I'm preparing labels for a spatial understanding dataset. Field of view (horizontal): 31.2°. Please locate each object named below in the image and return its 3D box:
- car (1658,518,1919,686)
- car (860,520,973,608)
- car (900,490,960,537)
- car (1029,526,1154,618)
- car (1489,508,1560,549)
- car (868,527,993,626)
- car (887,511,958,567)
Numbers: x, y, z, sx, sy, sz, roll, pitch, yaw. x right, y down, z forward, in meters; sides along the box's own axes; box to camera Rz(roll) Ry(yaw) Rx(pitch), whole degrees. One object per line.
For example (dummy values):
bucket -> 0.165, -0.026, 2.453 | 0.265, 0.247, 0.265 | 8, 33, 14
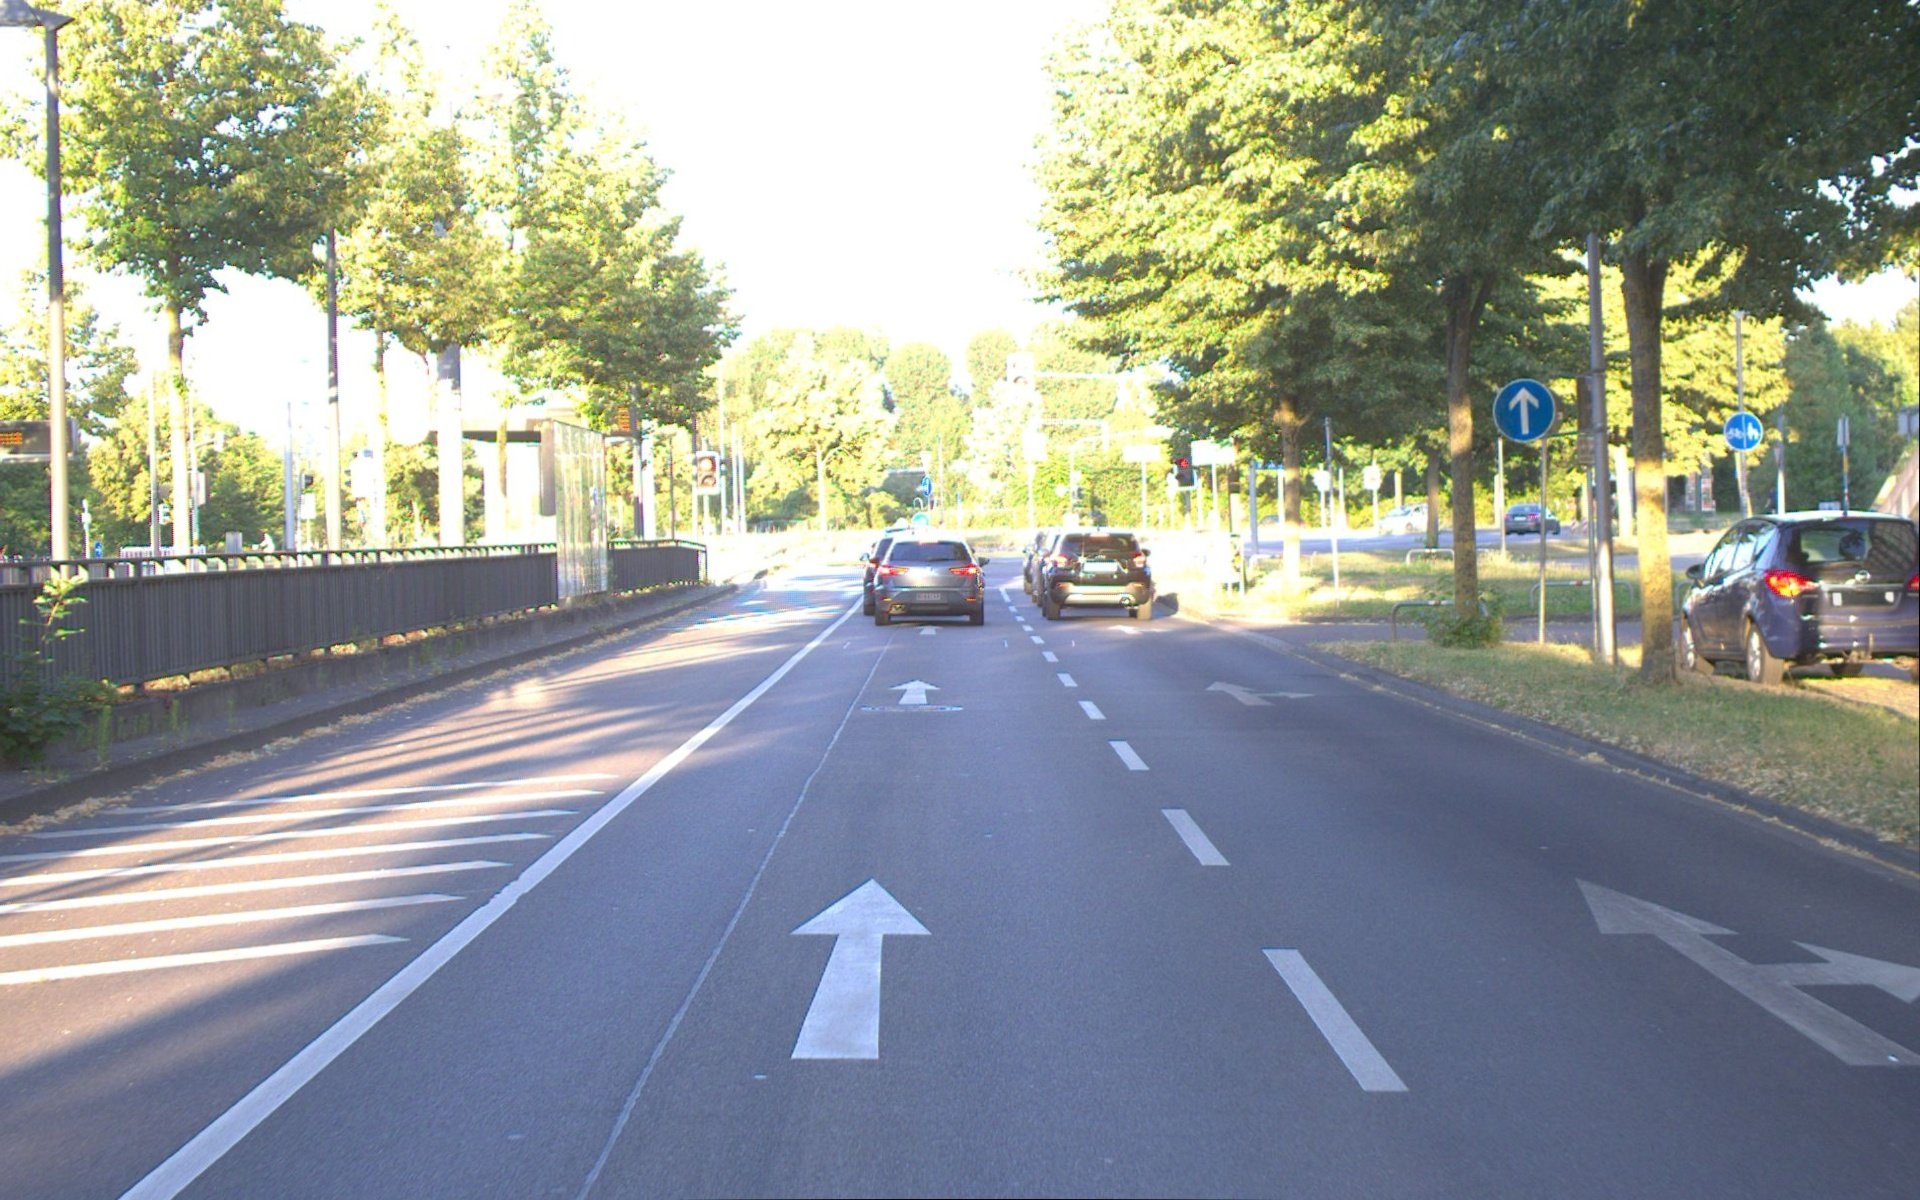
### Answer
car -> 8.026, -0.029, 32.686 | 1.756, 1.461, 4.159 | -1, 1, -2
car -> -0.785, -0.664, 61.521 | 1.911, 1.481, 4.000 | -1, 1, -1
car -> -0.998, -2.846, 112.963 | 1.911, 1.481, 4.000 | -1, 1, -1
car -> 2.227, -0.507, 58.998 | 1.911, 1.481, 4.000 | -1, 1, -1
car -> 24.806, -3.153, 151.032 | 1.996, 1.722, 3.995 | -1, 1, 26
car -> -0.491, -0.403, 55.192 | 1.911, 1.481, 4.000 | -1, 1, -1
car -> -1.066, -1.718, 96.375 | 1.911, 1.481, 4.000 | -1, 1, -1
